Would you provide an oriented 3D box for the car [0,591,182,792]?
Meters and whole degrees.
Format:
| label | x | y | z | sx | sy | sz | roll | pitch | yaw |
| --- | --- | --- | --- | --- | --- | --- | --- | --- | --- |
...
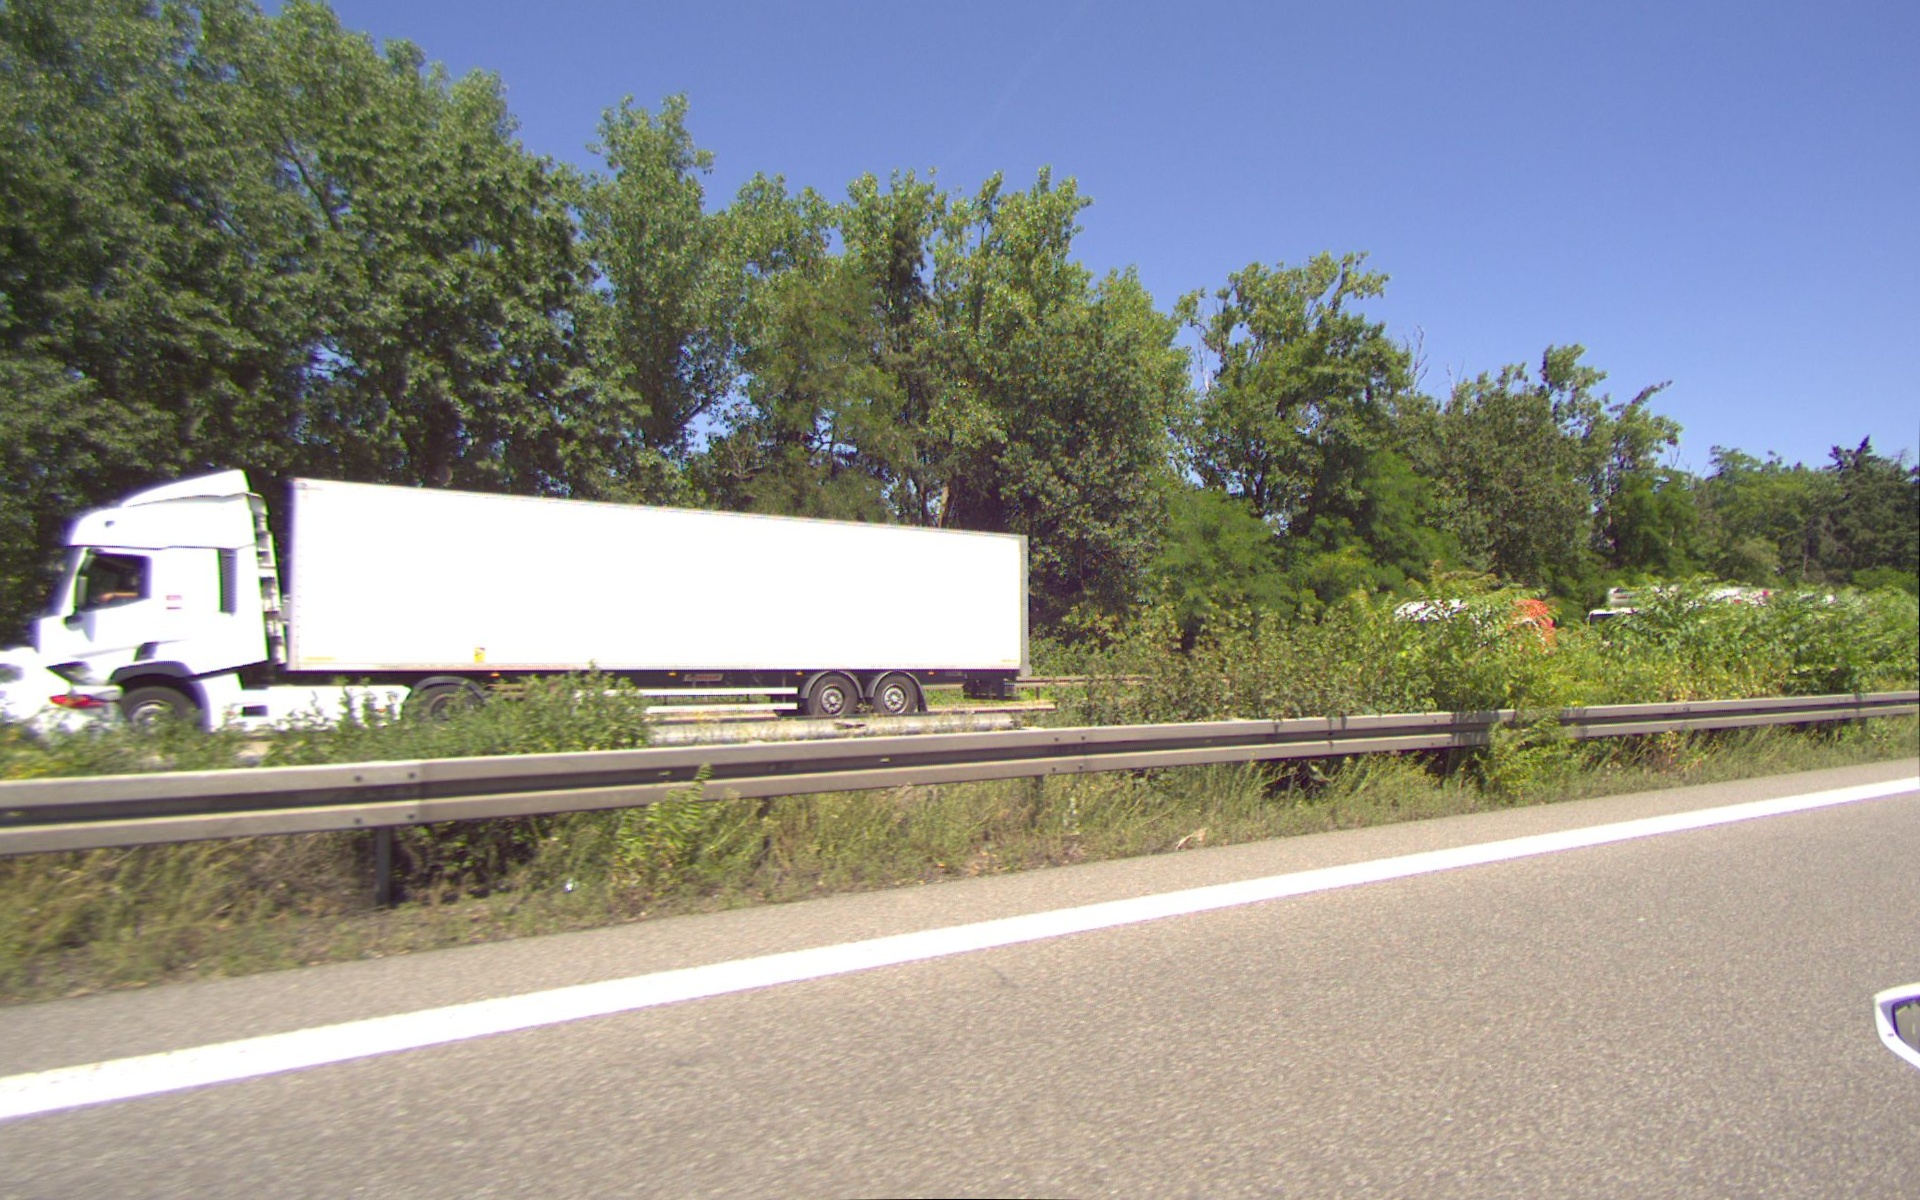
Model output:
| label | x | y | z | sx | sy | sz | roll | pitch | yaw |
| --- | --- | --- | --- | --- | --- | --- | --- | --- | --- |
| car | -11.636 | 0.939 | 10.663 | 5.027 | 2.082 | 2.114 | 2 | -2 | -31 |

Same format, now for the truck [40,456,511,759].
| label | x | y | z | sx | sy | sz | roll | pitch | yaw |
| --- | --- | --- | --- | --- | --- | --- | --- | --- | --- |
| truck | -10.590 | 0.231 | 16.266 | 5.792 | 4.143 | 2.473 | 2 | -4 | -30 |

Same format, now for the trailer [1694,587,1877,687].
| label | x | y | z | sx | sy | sz | roll | pitch | yaw |
| --- | --- | --- | --- | --- | --- | --- | --- | --- | --- |
| trailer | 34.960 | 1.597 | 42.446 | 9.165 | 3.878 | 2.913 | 2 | -2 | -30 |

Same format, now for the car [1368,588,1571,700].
| label | x | y | z | sx | sy | sz | roll | pitch | yaw |
| --- | --- | --- | --- | --- | --- | --- | --- | --- | --- |
| car | 12.547 | 1.078 | 24.673 | 5.027 | 2.499 | 2.114 | 2 | -2 | -31 |

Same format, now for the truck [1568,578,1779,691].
| label | x | y | z | sx | sy | sz | roll | pitch | yaw |
| --- | --- | --- | --- | --- | --- | --- | --- | --- | --- |
| truck | 26.973 | 1.342 | 37.821 | 9.165 | 3.878 | 2.913 | 2 | -2 | -30 |

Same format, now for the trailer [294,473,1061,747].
| label | x | y | z | sx | sy | sz | roll | pitch | yaw |
| --- | --- | --- | --- | --- | --- | --- | --- | --- | --- |
| trailer | -4.496 | 0.394 | 19.769 | 14.076 | 4.143 | 2.526 | 2 | -4 | -30 |
